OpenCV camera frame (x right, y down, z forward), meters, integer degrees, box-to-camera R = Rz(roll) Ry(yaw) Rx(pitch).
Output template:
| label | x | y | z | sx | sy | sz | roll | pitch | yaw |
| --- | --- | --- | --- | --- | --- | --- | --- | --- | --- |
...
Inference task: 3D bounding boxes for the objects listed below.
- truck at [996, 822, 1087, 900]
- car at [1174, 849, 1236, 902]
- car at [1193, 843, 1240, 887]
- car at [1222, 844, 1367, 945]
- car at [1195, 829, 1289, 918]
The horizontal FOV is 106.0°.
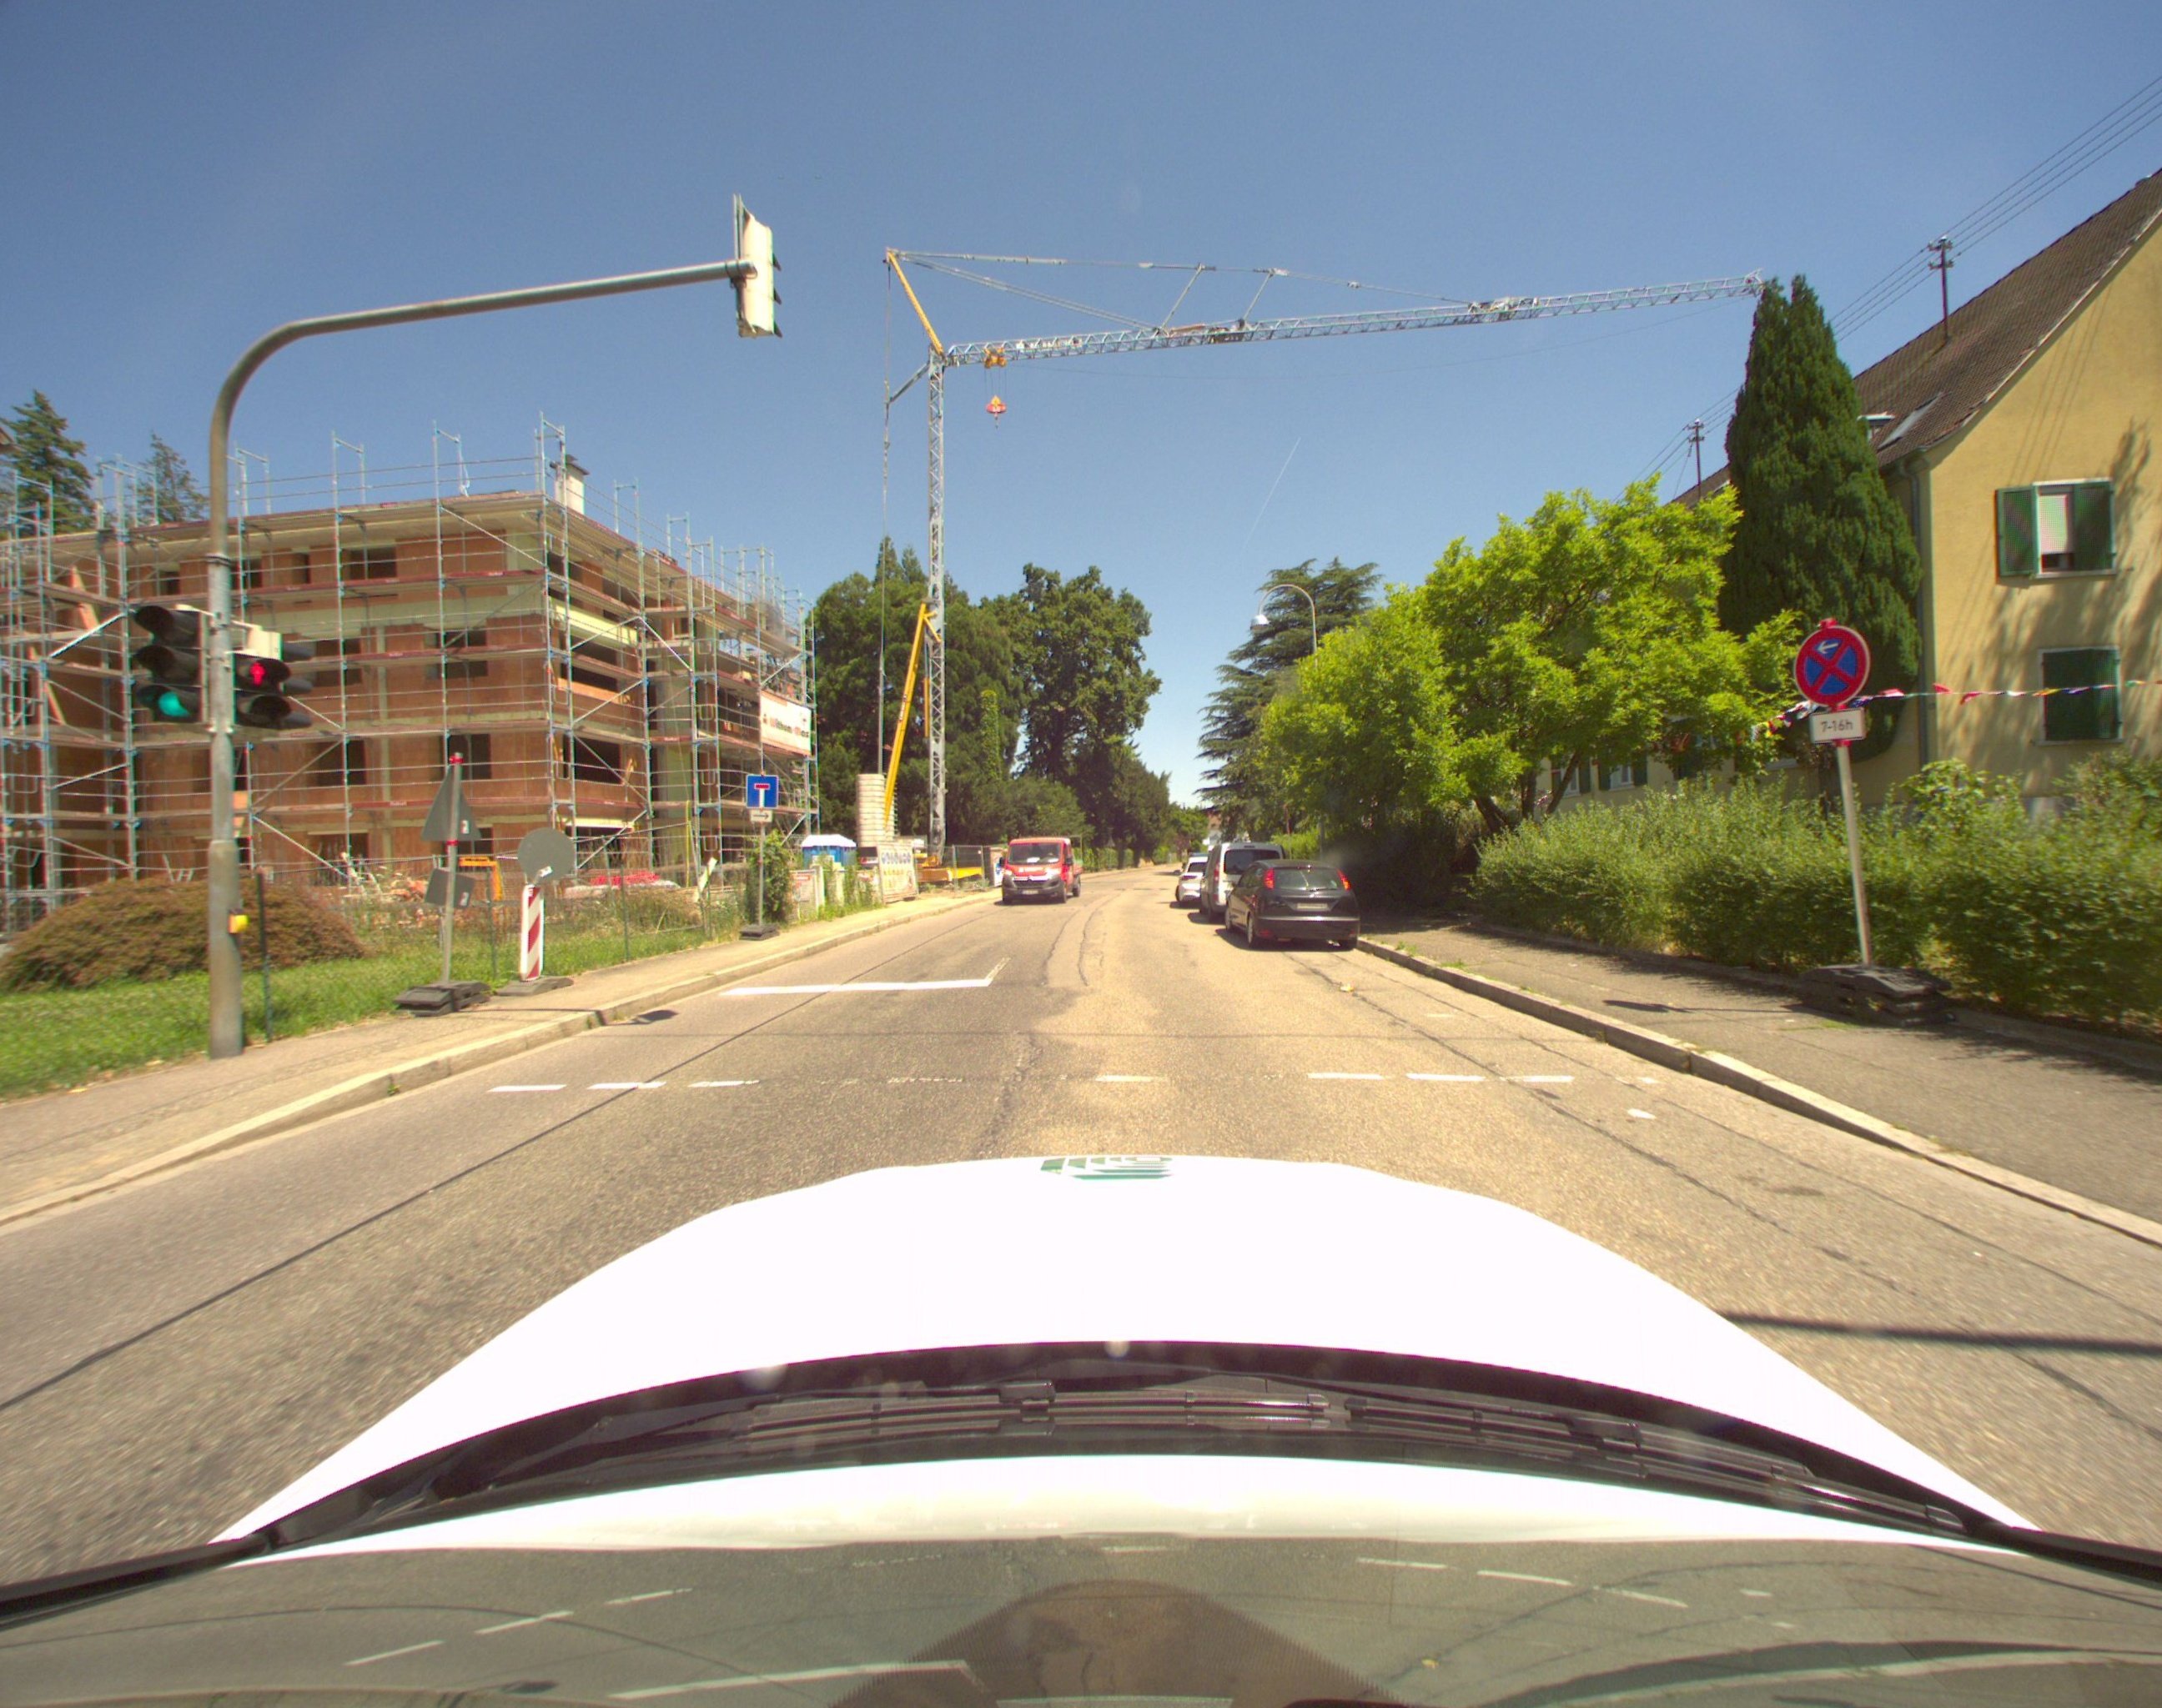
| label | x | y | z | sx | sy | sz | roll | pitch | yaw |
| --- | --- | --- | --- | --- | --- | --- | --- | --- | --- |
| truck | -1.214 | 0.199 | 28.717 | 2.117 | 2.339 | 6.445 | -3 | 0 | 6 |
| car | 3.648 | 0.609 | 24.493 | 1.653 | 1.435 | 4.136 | 1 | -1 | 6 |
| car | 5.150 | 0.431 | 31.228 | 1.652 | 1.538 | 4.213 | 1 | -1 | 8 |
| car | 3.574 | 0.634 | 14.343 | 1.622 | 1.463 | 4.018 | 2 | -1 | 2 |
| car | 3.679 | 0.435 | 19.255 | 1.654 | 1.803 | 4.208 | 2 | -1 | 4 |
